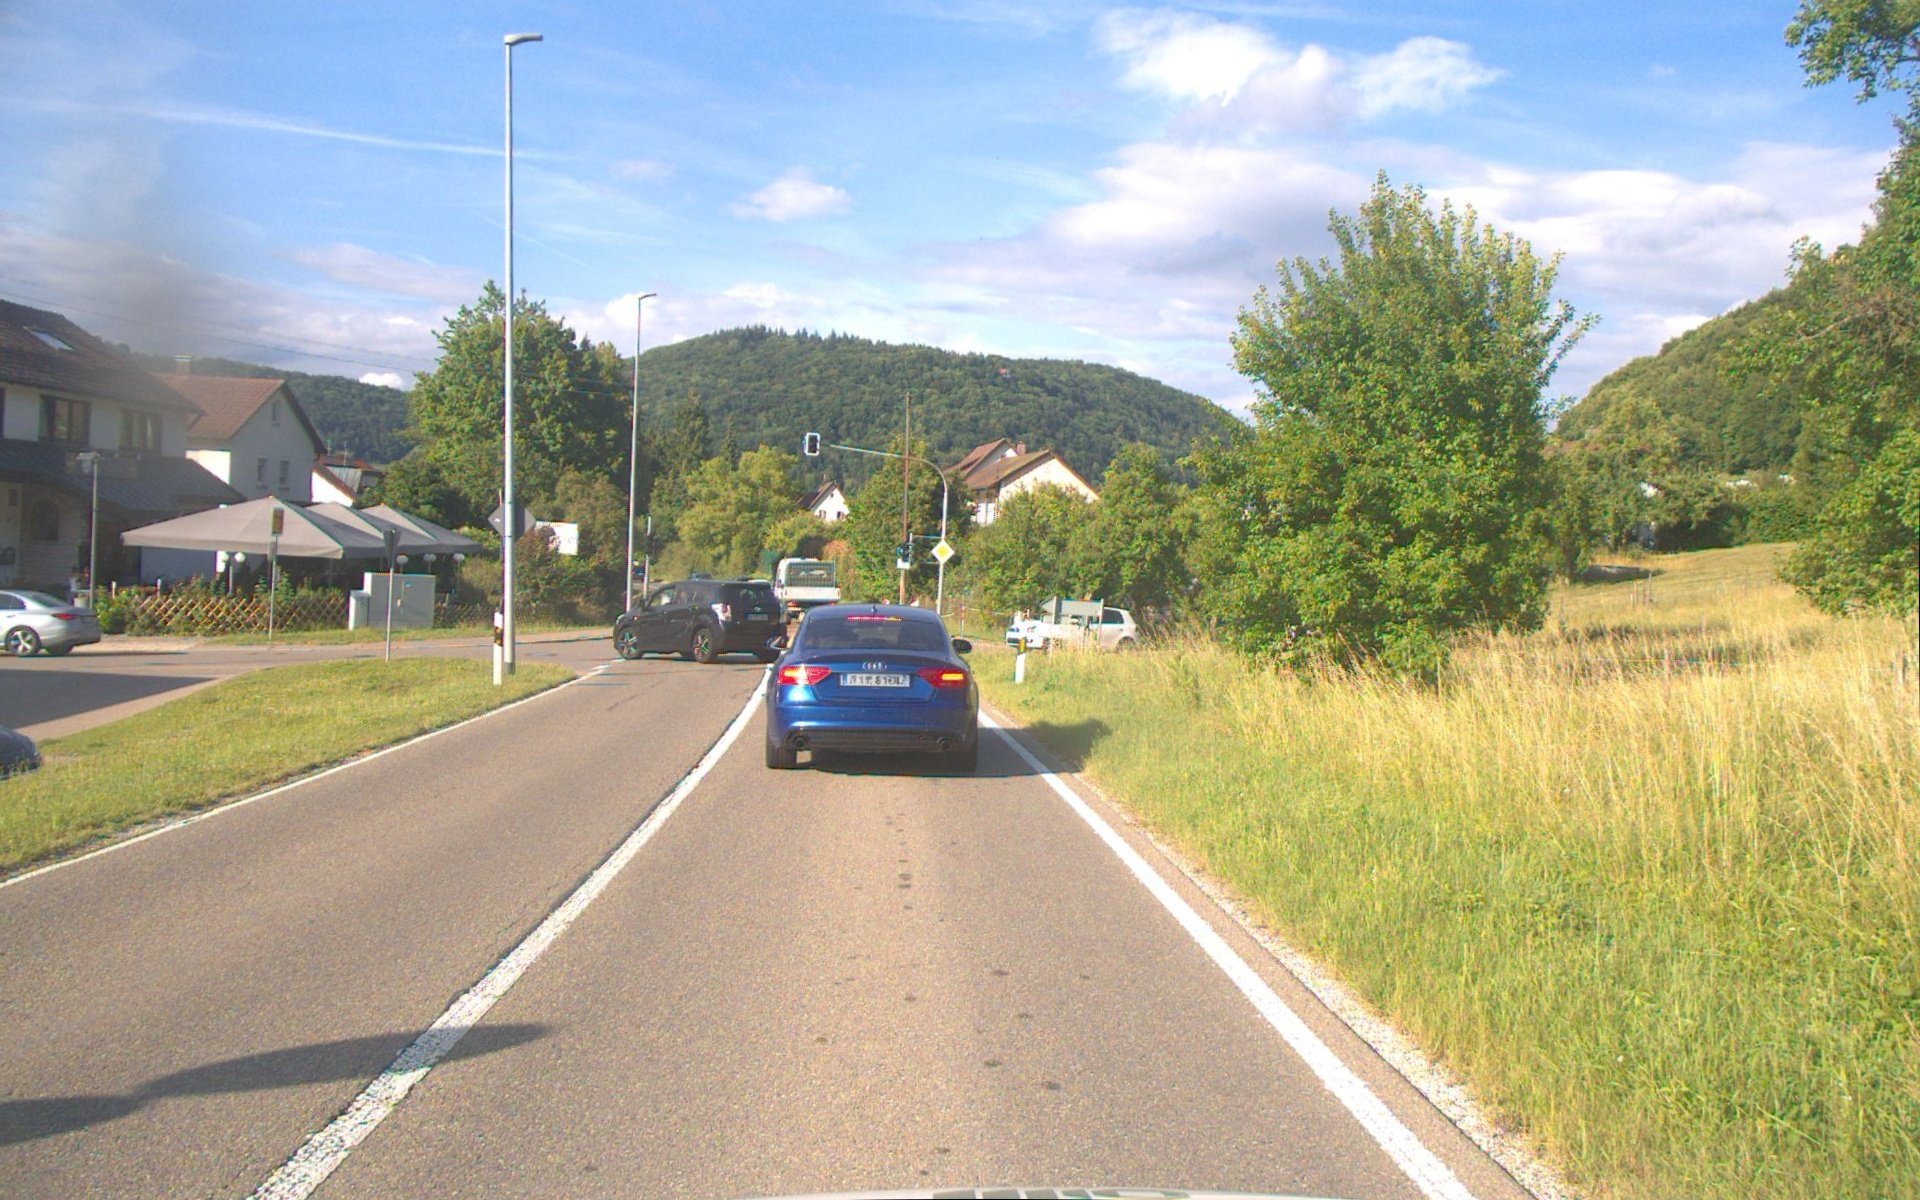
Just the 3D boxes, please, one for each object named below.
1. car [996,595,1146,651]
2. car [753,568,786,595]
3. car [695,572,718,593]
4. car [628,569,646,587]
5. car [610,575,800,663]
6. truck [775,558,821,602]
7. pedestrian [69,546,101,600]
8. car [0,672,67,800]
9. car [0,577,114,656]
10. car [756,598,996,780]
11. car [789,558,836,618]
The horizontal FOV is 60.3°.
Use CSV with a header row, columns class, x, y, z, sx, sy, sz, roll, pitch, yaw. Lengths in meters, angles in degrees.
class,x,y,z,sx,sy,sz,roll,pitch,yaw
car,3.239,0.662,48.307,3.992,1.534,1.841,1,-1,-25
car,-11.006,-1.055,95.580,1.667,1.516,3.518,1,-1,-10
car,-19.338,-1.338,126.373,1.666,1.516,3.520,1,-1,-8
car,-31.100,-2.087,159.231,1.597,1.604,3.669,1,-1,-11
car,-5.213,0.361,33.523,3.930,1.668,1.741,1,-1,43
truck,-7.714,-0.907,78.487,1.667,1.988,5.907,1,-1,-10
pedestrian,-25.287,-0.771,47.808,0.596,1.529,0.589,1,-1,-1
car,-12.328,1.466,18.372,3.902,1.333,1.762,1,-1,6
car,-21.213,0.336,36.240,4.362,1.668,1.809,1,-1,-5
car,-0.617,0.715,14.968,1.758,1.412,4.001,0,-1,3
car,-5.772,-0.428,64.601,1.712,2.234,3.995,1,-1,-5
